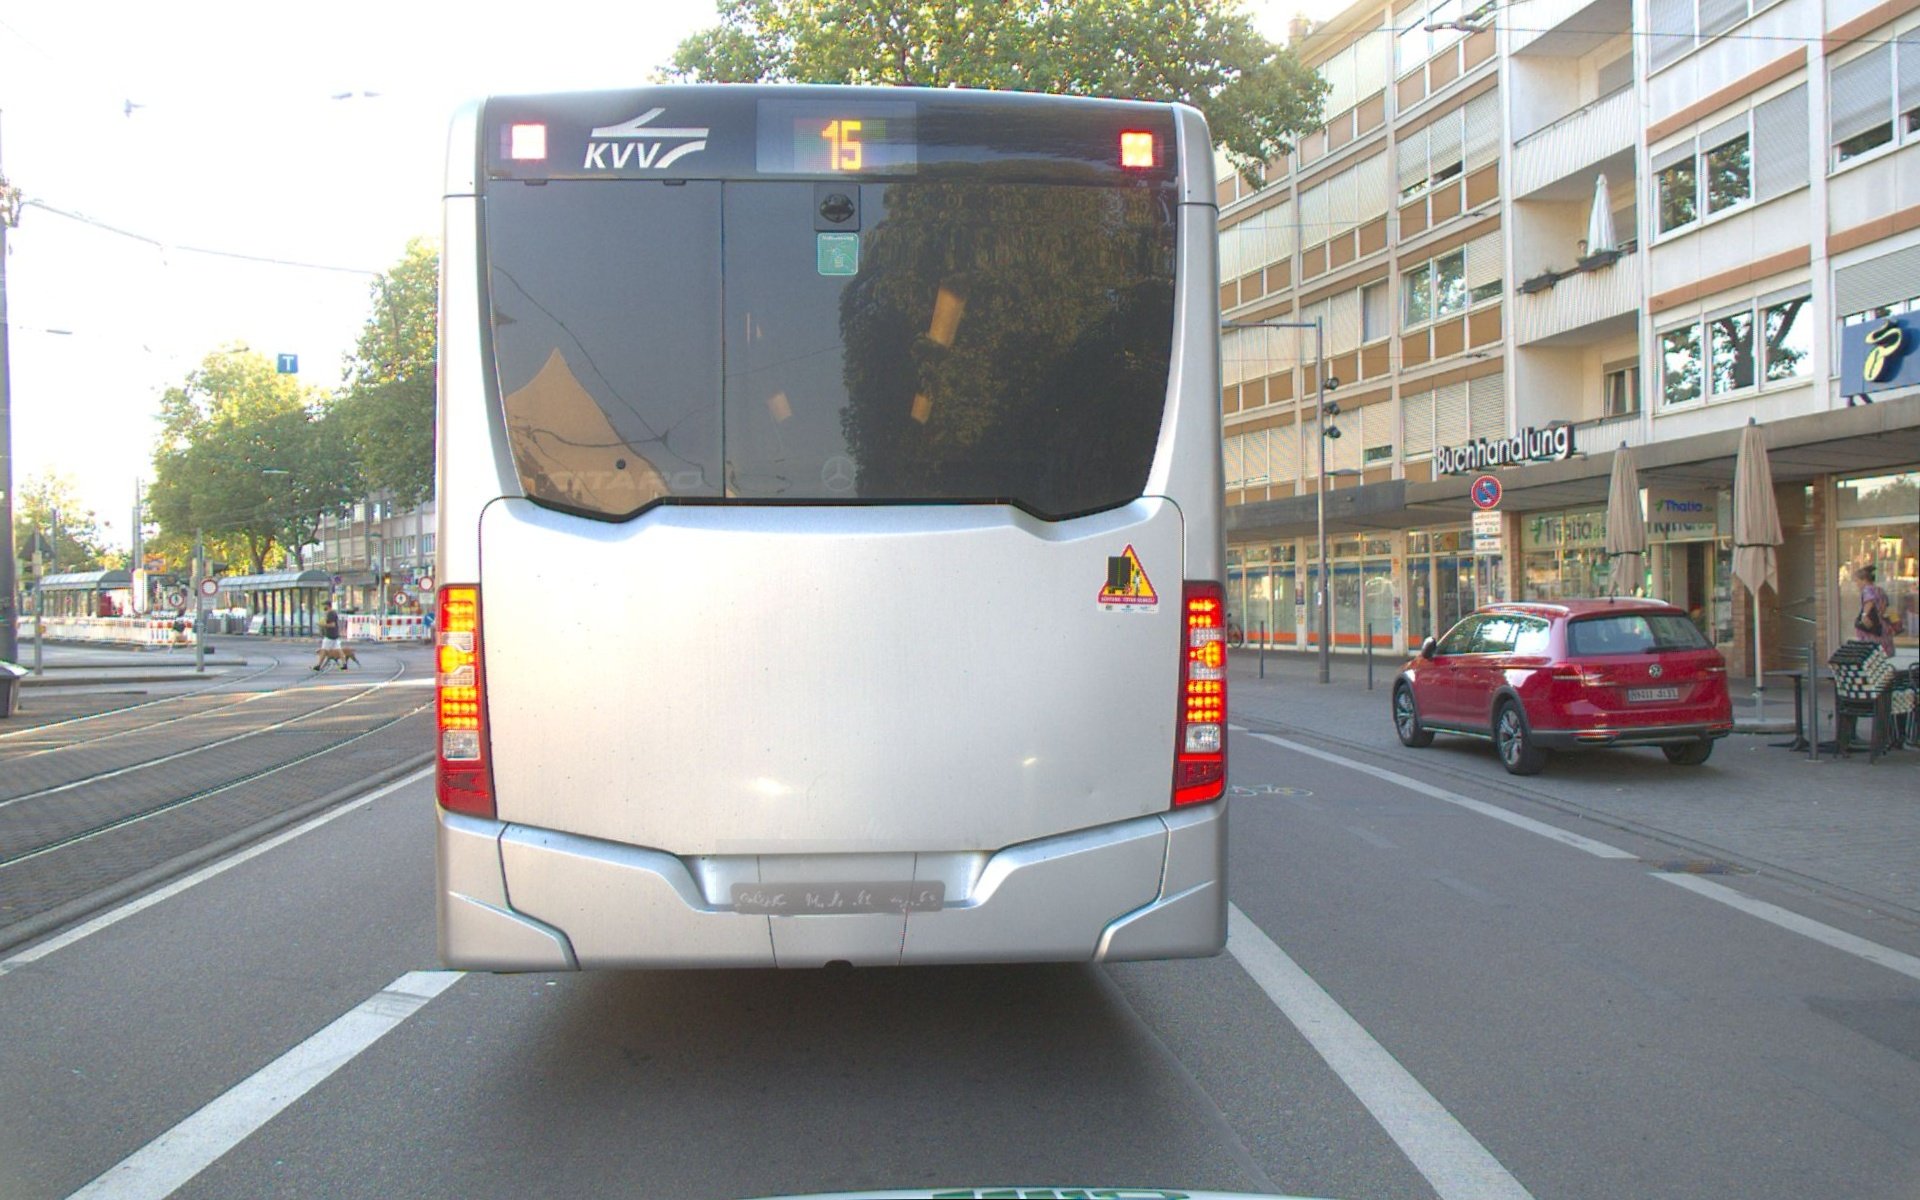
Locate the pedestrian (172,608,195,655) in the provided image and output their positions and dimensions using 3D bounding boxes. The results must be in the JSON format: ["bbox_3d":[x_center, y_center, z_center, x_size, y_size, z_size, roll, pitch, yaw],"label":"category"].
[{"bbox_3d":[-28.200,1.133,60.049,0.653,1.685,0.436,-1,-1,-44],"label":"pedestrian"}]

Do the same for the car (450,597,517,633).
[{"bbox_3d":[-25.316,0.790,87.814,1.982,1.823,3.940,1,-1,-41],"label":"car"}]

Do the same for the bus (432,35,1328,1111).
[{"bbox_3d":[-0.428,-0.062,9.796,2.578,3.081,9.992,0,0,-3],"label":"bus"}]

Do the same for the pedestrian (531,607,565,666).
[{"bbox_3d":[-10.362,0.916,41.572,0.754,1.475,0.636,1,-1,-10],"label":"pedestrian"}]

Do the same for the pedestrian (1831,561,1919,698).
[{"bbox_3d":[11.257,0.358,20.273,0.637,1.620,0.788,-3,0,-6],"label":"pedestrian"}]

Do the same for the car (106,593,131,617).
[{"bbox_3d":[-72.597,0.464,142.679,1.604,2.049,3.075,-1,0,-34],"label":"car"}]

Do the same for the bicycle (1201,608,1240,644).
[{"bbox_3d":[7.191,0.711,45.766,0.406,0.961,1.431,-1,0,-20],"label":"bicycle"}]

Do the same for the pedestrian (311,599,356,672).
[{"bbox_3d":[-15.369,0.875,40.598,0.878,1.758,0.517,-1,0,1],"label":"pedestrian"}]

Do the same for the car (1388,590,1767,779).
[{"bbox_3d":[5.711,0.703,15.933,1.735,1.508,4.299,-2,0,-4],"label":"car"}]
